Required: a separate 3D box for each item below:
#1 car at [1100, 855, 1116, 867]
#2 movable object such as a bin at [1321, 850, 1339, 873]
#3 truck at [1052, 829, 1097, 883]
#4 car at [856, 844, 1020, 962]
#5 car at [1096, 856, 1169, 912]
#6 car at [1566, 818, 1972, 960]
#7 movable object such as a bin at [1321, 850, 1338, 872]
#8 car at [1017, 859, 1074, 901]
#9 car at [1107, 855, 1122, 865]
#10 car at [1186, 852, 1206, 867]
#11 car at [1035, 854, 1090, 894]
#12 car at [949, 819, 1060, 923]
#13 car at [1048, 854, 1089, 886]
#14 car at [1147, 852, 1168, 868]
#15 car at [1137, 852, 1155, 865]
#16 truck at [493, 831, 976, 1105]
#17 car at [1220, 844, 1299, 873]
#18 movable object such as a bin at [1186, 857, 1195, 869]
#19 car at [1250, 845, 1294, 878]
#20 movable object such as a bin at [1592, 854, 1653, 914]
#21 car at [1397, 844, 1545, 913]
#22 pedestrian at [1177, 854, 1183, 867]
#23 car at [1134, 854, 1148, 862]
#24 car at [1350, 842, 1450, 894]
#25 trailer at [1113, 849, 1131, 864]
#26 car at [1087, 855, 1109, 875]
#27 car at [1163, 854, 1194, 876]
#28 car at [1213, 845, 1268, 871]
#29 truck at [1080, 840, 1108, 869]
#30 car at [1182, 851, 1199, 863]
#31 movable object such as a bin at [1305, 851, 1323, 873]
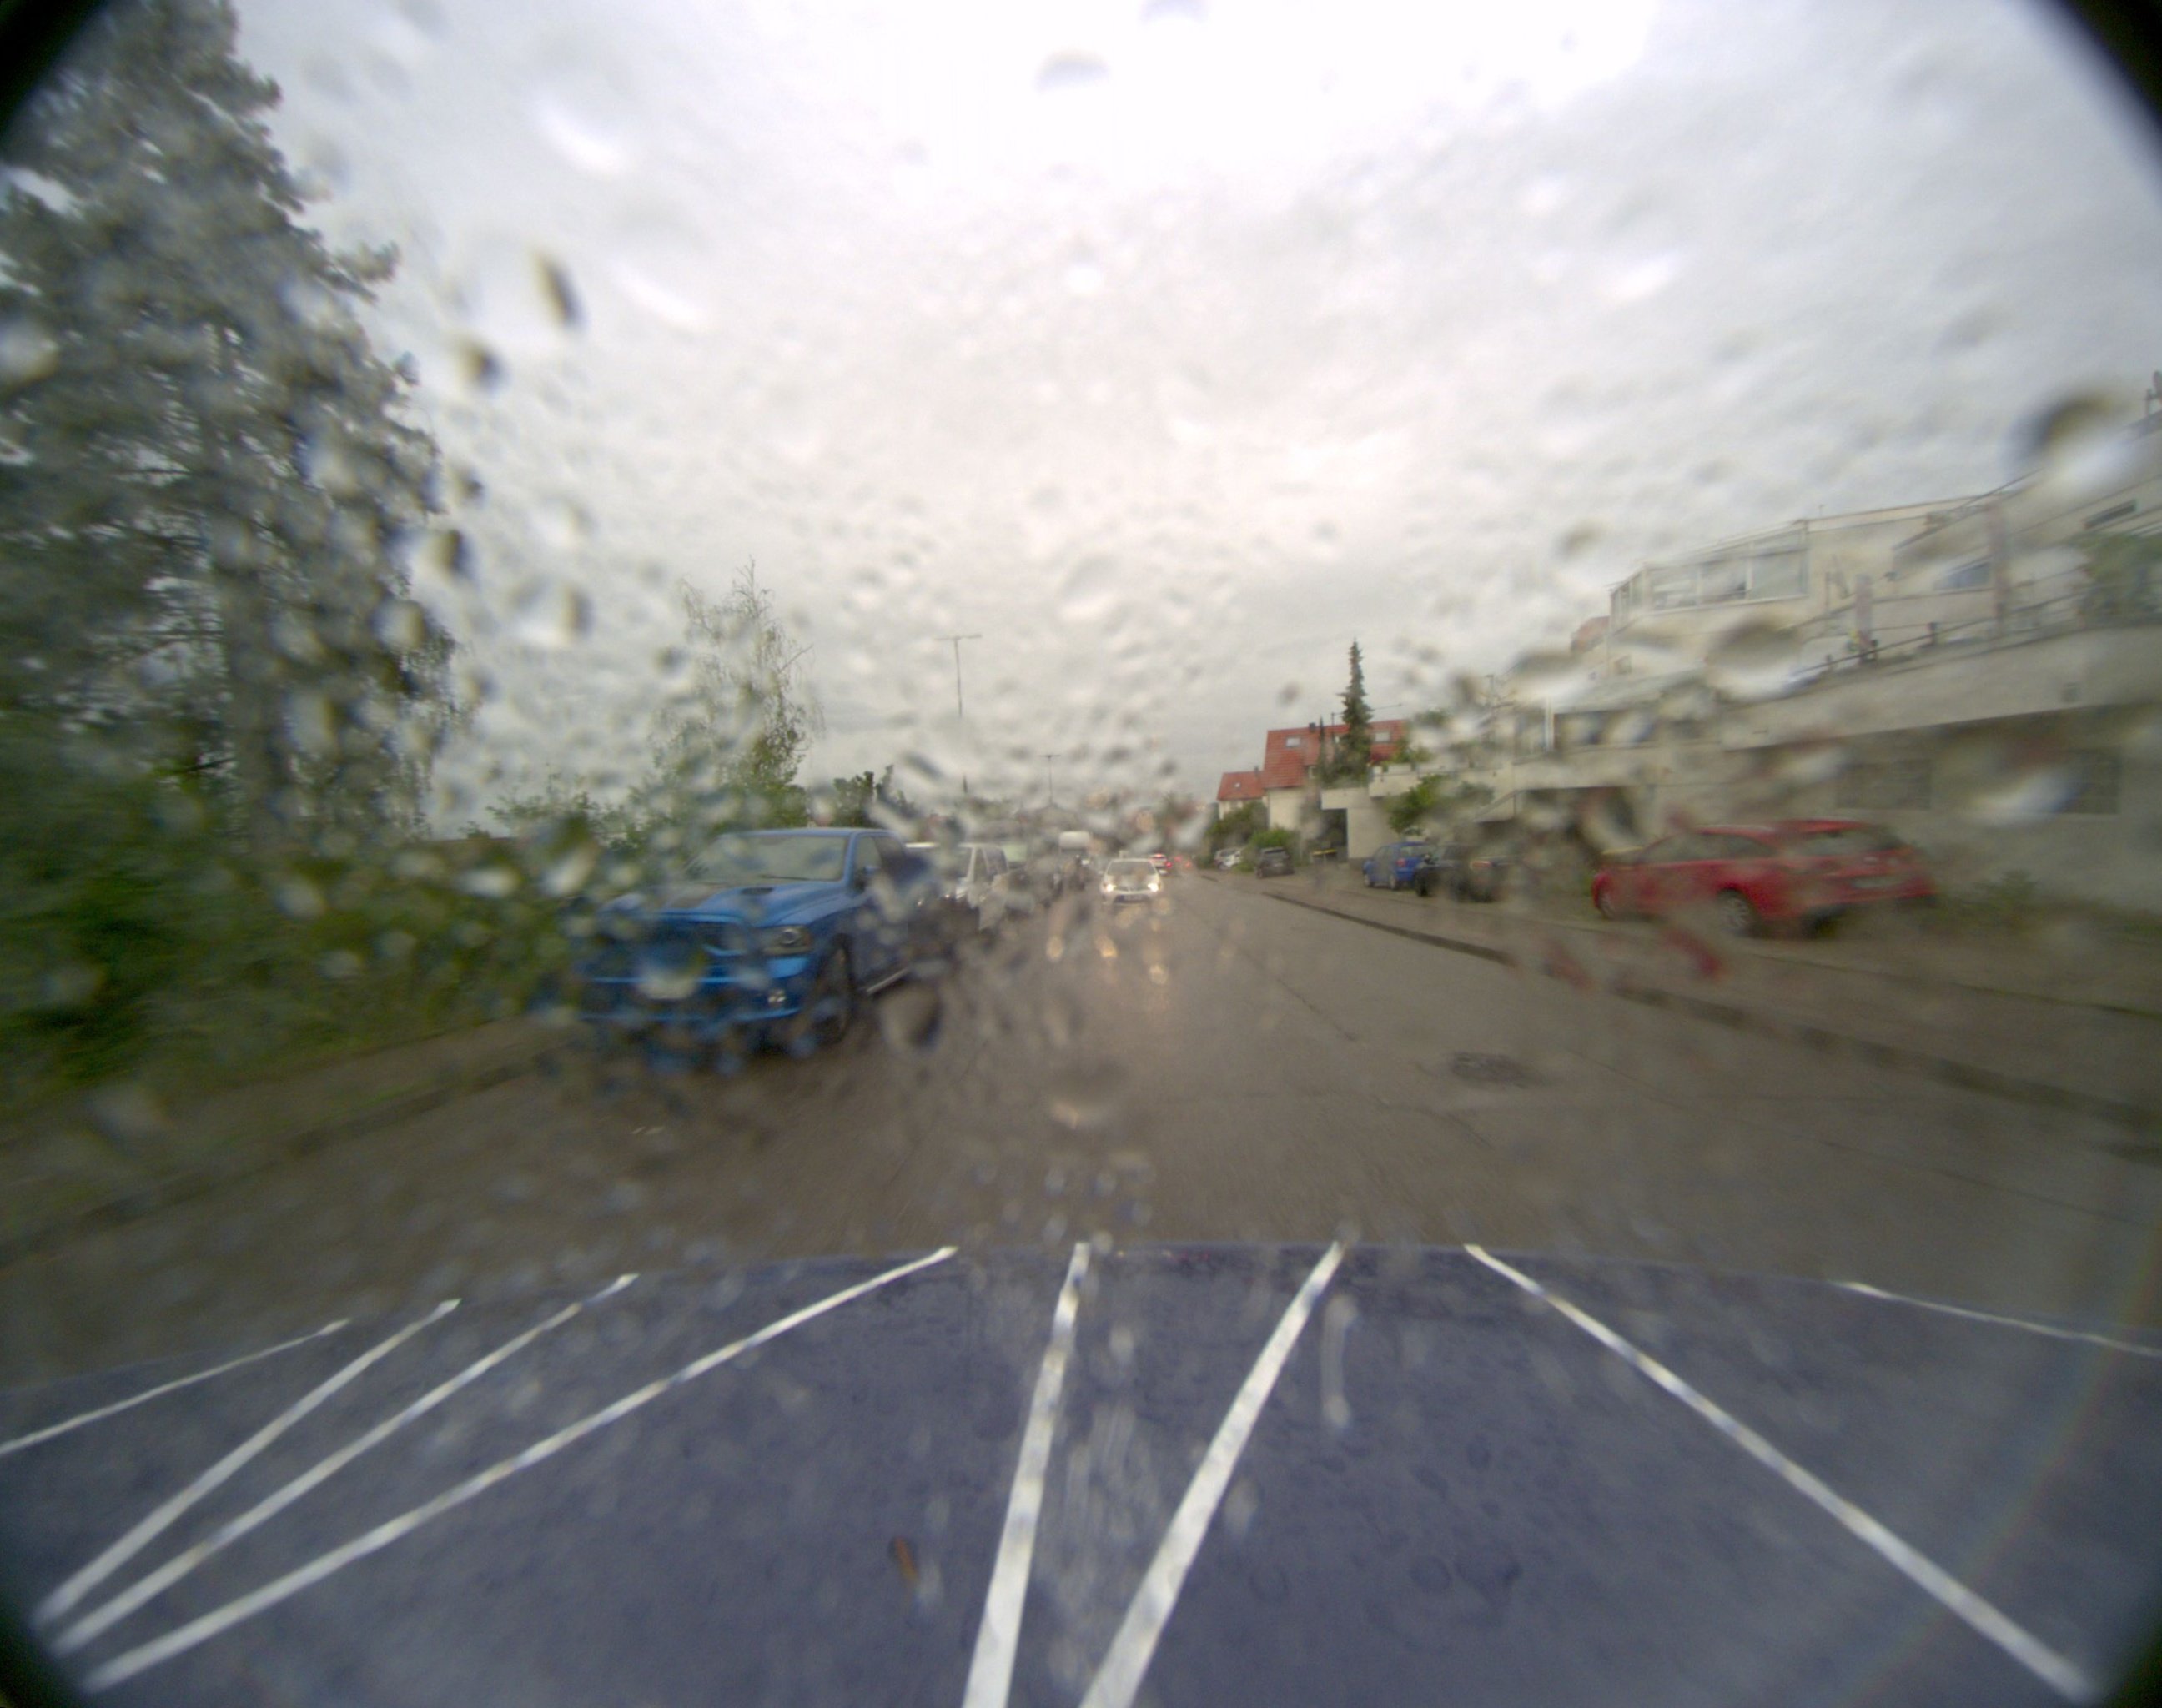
[{"bbox_3d":[3.701,0.946,103.221,1.820,1.498,4.725,-1,0,5],"label":"car"},{"bbox_3d":[12.817,0.374,39.138,0.725,1.064,0.767,-6,1,22],"label":"movable object such as a bin"},{"bbox_3d":[-0.333,0.087,51.159,2.441,3.316,7.966,-1,0,4],"label":"truck"},{"bbox_3d":[-2.466,0.772,14.553,1.831,1.831,5.271,-1,0,3],"label":"car"},{"bbox_3d":[1.505,0.813,22.260,1.862,1.369,4.182,-3,0,4],"label":"car"},{"bbox_3d":[9.309,0.402,10.972,1.778,1.428,4.589,-7,0,4],"label":"car"},{"bbox_3d":[13.042,0.364,39.905,0.725,1.064,0.767,-6,1,22],"label":"movable object such as a bin"},{"bbox_3d":[-1.247,0.909,28.207,1.592,1.420,3.799,-1,0,5],"label":"car"},{"bbox_3d":[5.357,0.932,119.792,1.796,1.451,4.792,-1,0,9],"label":"car"},{"bbox_3d":[12.562,0.579,83.354,1.807,1.588,4.418,-1,0,3],"label":"car"},{"bbox_3d":[-0.771,0.837,34.608,1.940,1.662,4.696,-1,0,5],"label":"car"},{"bbox_3d":[-1.944,0.410,21.439,2.035,2.491,5.957,-1,0,4],"label":"car"},{"bbox_3d":[-0.639,0.851,43.383,1.850,1.674,5.639,-1,0,4],"label":"car"},{"bbox_3d":[7.387,0.560,73.566,1.803,1.558,4.385,-1,0,4],"label":"car"},{"bbox_3d":[8.375,0.535,97.665,1.910,1.598,4.431,-3,0,8],"label":"car"},{"bbox_3d":[-2.940,0.820,8.721,2.119,1.841,6.619,-4,0,3],"label":"truck"},{"bbox_3d":[12.504,0.320,53.212,5.090,1.933,2.144,-1,1,20],"label":"car"},{"bbox_3d":[9.642,0.785,66.910,0.604,1.057,0.698,-3,0,-1],"label":"movable object such as a bin"},{"bbox_3d":[10.839,0.423,43.366,1.692,1.579,4.199,-8,-1,7],"label":"car"},{"bbox_3d":[10.264,0.563,14.429,0.641,1.077,0.752,-3,0,9],"label":"movable object such as a bin"},{"bbox_3d":[9.524,0.547,18.952,1.637,1.388,4.240,-6,0,4],"label":"car"},{"bbox_3d":[13.151,0.850,100.708,0.718,1.625,0.707,-1,0,5],"label":"pedestrian"},{"bbox_3d":[11.476,0.740,145.884,1.635,1.448,3.706,-1,1,20],"label":"car"},{"bbox_3d":[10.265,0.442,24.761,1.611,1.425,3.960,-6,-1,3],"label":"car"},{"bbox_3d":[7.079,0.364,130.665,1.952,2.442,5.439,-1,1,13],"label":"trailer"},{"bbox_3d":[1.505,0.904,66.141,1.763,1.595,4.667,-1,0,3],"label":"car"},{"bbox_3d":[6.899,0.763,54.107,1.778,1.429,4.363,1,0,3],"label":"car"},{"bbox_3d":[12.884,0.326,61.383,4.060,1.682,1.896,-6,0,17],"label":"car"},{"bbox_3d":[1.320,0.047,73.731,2.244,2.616,6.540,-1,0,5],"label":"truck"},{"bbox_3d":[14.106,0.365,97.691,1.769,1.368,4.250,-5,0,11],"label":"car"},{"bbox_3d":[12.358,0.435,40.283,0.725,1.064,0.850,-6,1,22],"label":"movable object such as a bin"}]
